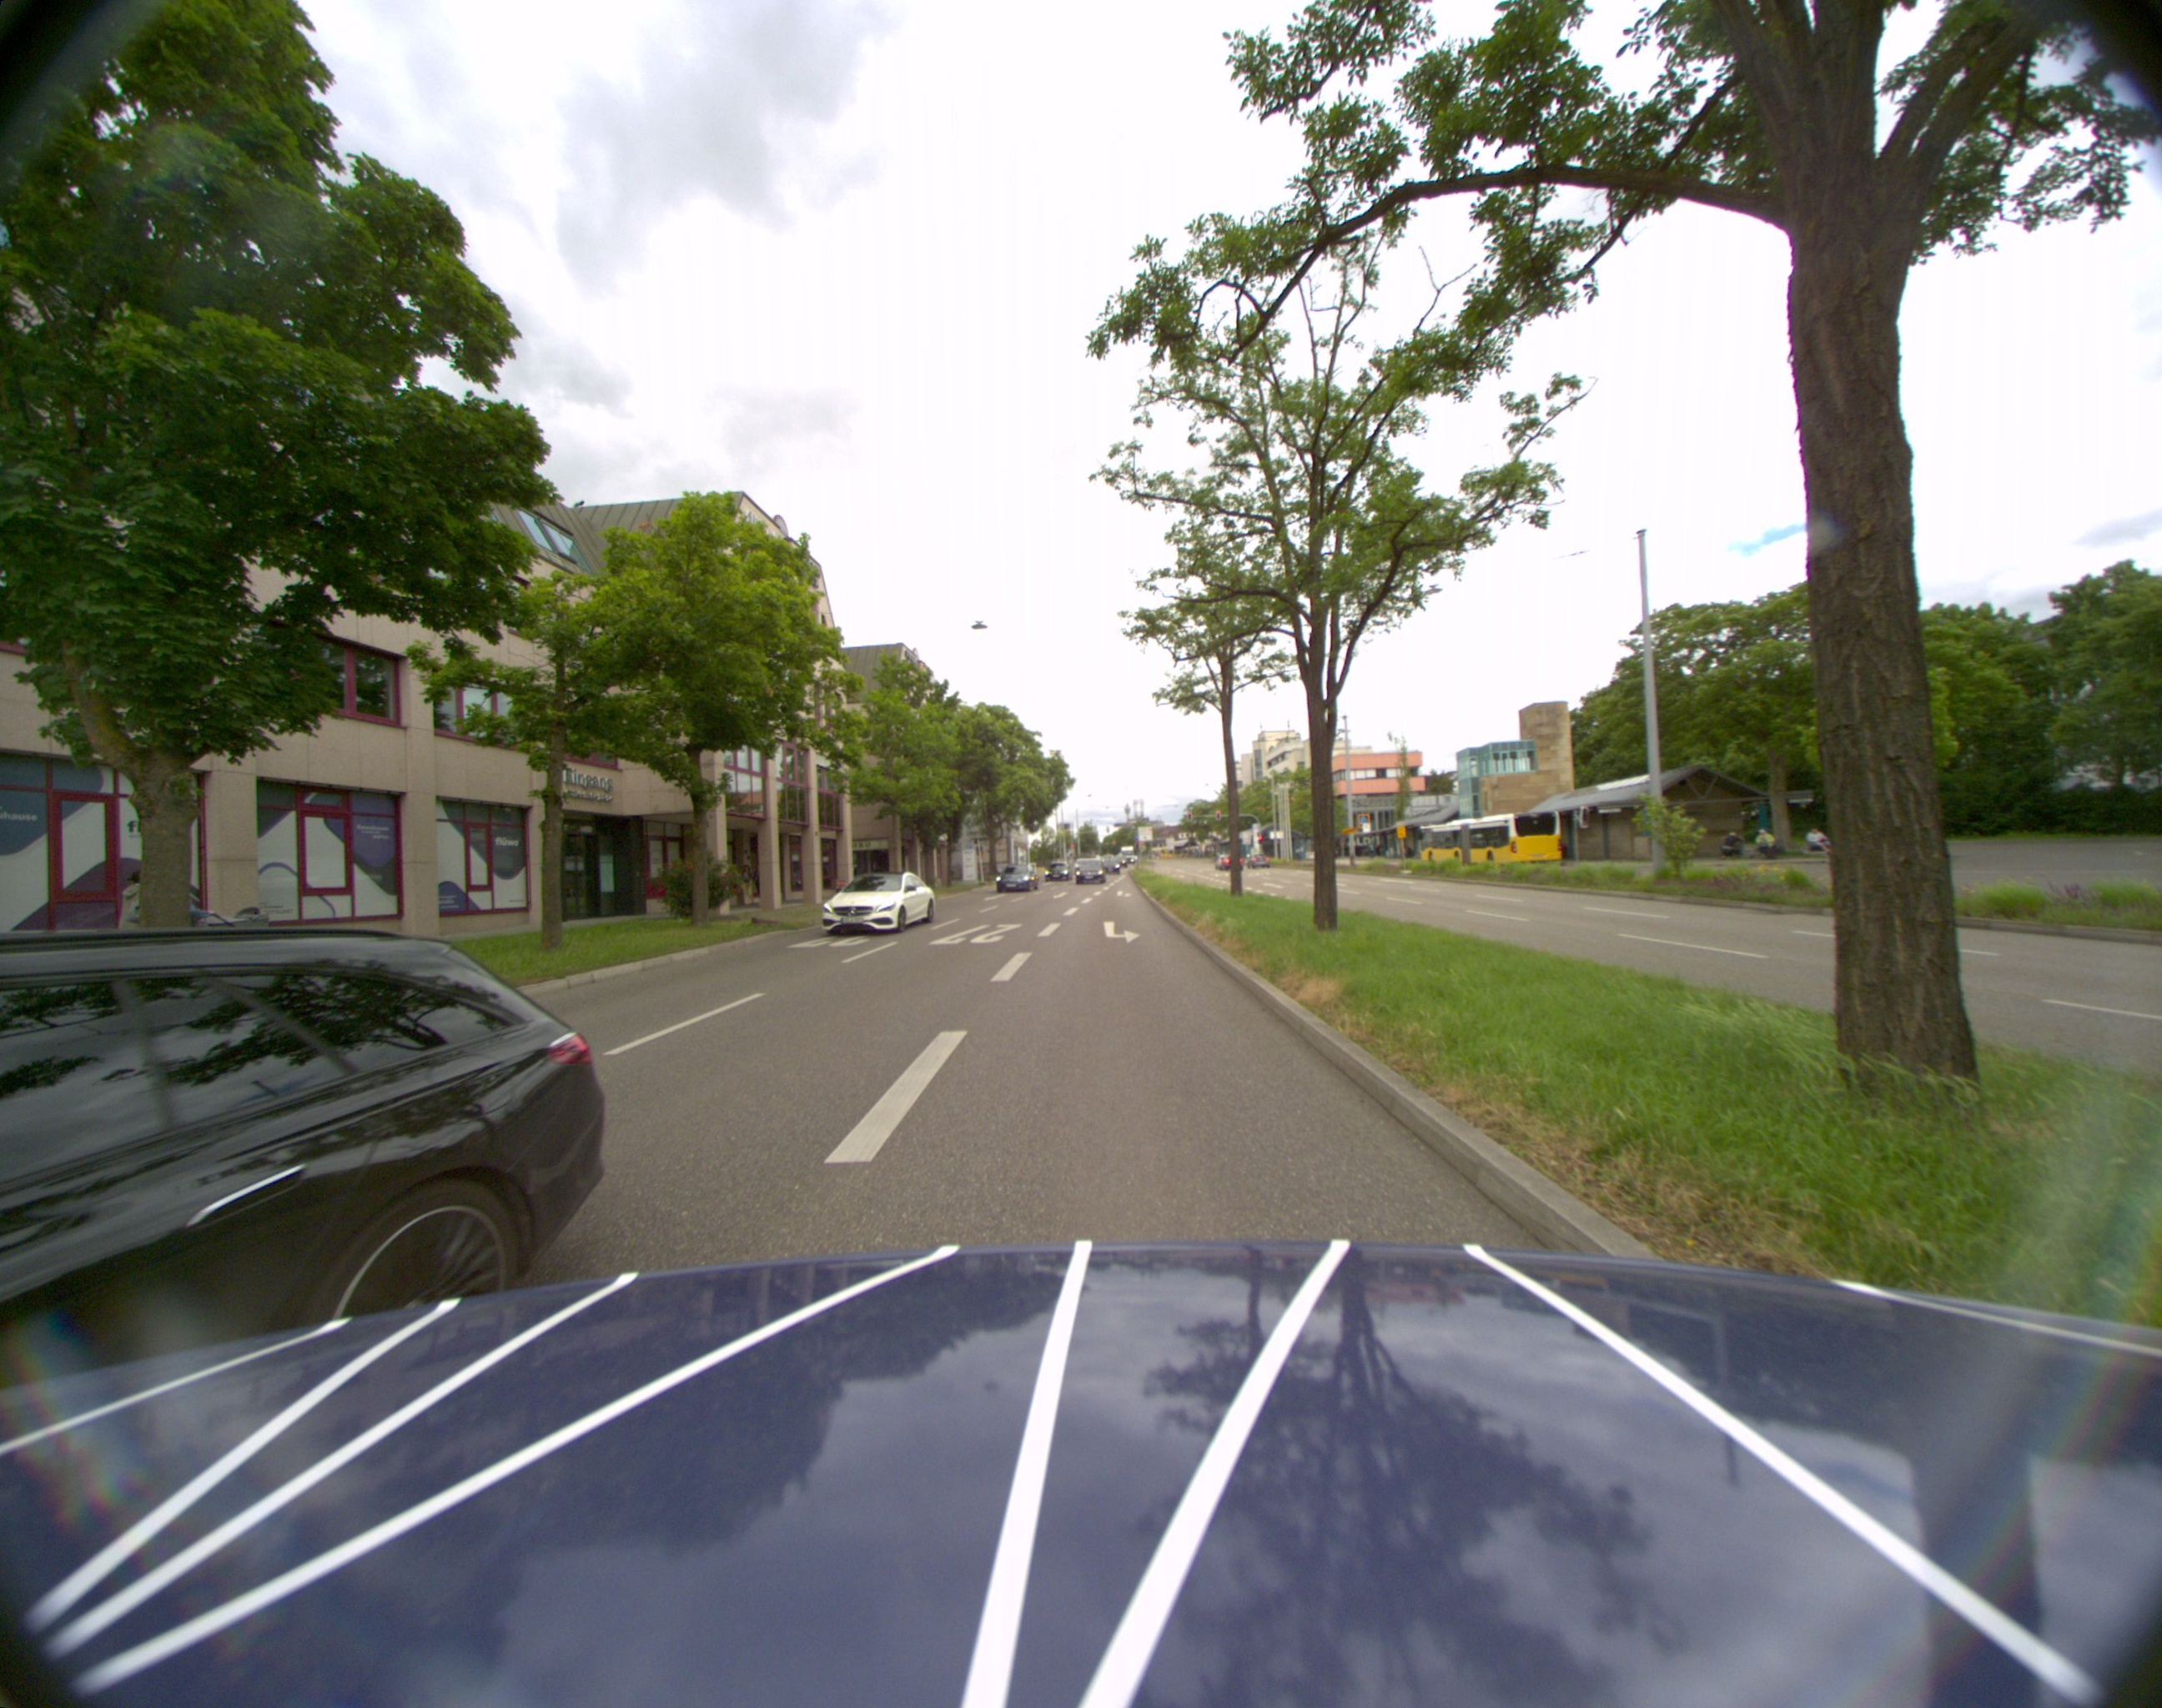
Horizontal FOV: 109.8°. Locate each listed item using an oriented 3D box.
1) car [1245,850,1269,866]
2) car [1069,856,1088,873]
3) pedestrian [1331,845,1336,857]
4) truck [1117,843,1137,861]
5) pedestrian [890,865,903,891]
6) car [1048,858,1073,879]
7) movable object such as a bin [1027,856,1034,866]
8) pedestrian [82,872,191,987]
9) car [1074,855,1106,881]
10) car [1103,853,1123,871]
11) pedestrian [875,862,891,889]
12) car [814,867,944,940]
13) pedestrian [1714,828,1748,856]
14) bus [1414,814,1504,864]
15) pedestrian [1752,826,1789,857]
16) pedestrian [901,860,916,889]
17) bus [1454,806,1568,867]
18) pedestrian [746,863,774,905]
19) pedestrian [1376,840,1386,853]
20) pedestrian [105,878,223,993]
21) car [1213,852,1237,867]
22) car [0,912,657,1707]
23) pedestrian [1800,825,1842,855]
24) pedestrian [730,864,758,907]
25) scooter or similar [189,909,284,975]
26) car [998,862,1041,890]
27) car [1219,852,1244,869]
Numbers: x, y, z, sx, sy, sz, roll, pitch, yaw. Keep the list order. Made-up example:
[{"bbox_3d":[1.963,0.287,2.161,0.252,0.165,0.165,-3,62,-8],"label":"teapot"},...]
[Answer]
[{"bbox_3d":[17.710,0.416,76.518,1.819,1.499,4.001,-2,0,6],"label":"car"},{"bbox_3d":[-0.253,1.105,80.531,1.763,1.625,4.156,-2,0,2],"label":"car"},{"bbox_3d":[32.888,-0.340,98.965,0.529,1.539,0.754,-3,0,17],"label":"pedestrian"},{"bbox_3d":[8.395,-0.393,140.036,3.118,3.209,6.524,-3,0,0],"label":"truck"},{"bbox_3d":[-11.207,1.439,46.166,0.562,1.541,0.544,-1,1,5],"label":"pedestrian"},{"bbox_3d":[-1.527,1.078,58.865,1.768,1.440,4.420,-2,0,0],"label":"car"},{"bbox_3d":[-5.673,0.776,85.840,0.627,1.097,0.710,-3,0,4],"label":"movable object such as a bin"},{"bbox_3d":[-14.658,1.146,11.815,0.568,1.690,0.829,-2,1,5],"label":"pedestrian"},{"bbox_3d":[0.555,0.898,50.423,1.972,1.630,4.312,-1,0,-1],"label":"car"},{"bbox_3d":[3.072,0.751,72.576,1.763,1.531,4.048,-2,0,2],"label":"car"},{"bbox_3d":[-12.507,1.379,48.013,0.659,1.681,0.843,-1,1,5],"label":"pedestrian"},{"bbox_3d":[-4.937,1.143,19.346,1.798,1.464,4.700,-3,0,3],"label":"car"},{"bbox_3d":[30.084,-0.542,35.168,0.859,1.247,0.894,-2,0,-27],"label":"pedestrian"},{"bbox_3d":[26.984,-1.001,54.780,2.781,3.113,9.444,-4,0,8],"label":"bus"},{"bbox_3d":[29.974,-0.545,33.043,0.859,1.282,0.894,-2,0,-22],"label":"pedestrian"},{"bbox_3d":[-10.913,1.269,47.963,0.659,1.815,0.843,-1,1,5],"label":"pedestrian"},{"bbox_3d":[25.565,-0.959,45.846,2.814,3.113,9.306,-5,0,10],"label":"bus"},{"bbox_3d":[-13.229,1.234,31.340,0.596,1.695,0.970,-2,0,6],"label":"pedestrian"},{"bbox_3d":[34.038,-0.847,86.279,0.994,1.452,0.590,-3,0,-41],"label":"pedestrian"},{"bbox_3d":[-13.961,1.208,11.596,0.556,1.643,0.962,-1,0,6],"label":"pedestrian"},{"bbox_3d":[14.546,0.587,76.912,1.749,1.456,3.791,-3,-1,2],"label":"car"},{"bbox_3d":[-2.847,1.007,0.574,2.058,1.477,4.974,-2,0,2],"label":"car"},{"bbox_3d":[31.521,-0.591,32.385,0.895,1.247,0.858,-2,0,2],"label":"pedestrian"},{"bbox_3d":[-13.945,1.284,31.438,0.596,1.695,0.970,-2,0,6],"label":"pedestrian"},{"bbox_3d":[-13.873,1.425,12.504,0.585,0.988,0.847,-1,0,6],"label":"scooter or similar"},{"bbox_3d":[-3.236,1.139,40.774,1.972,1.430,4.312,0,0,-1],"label":"car"},{"bbox_3d":[13.931,0.567,70.476,1.662,1.499,3.769,-2,0,2],"label":"car"}]
